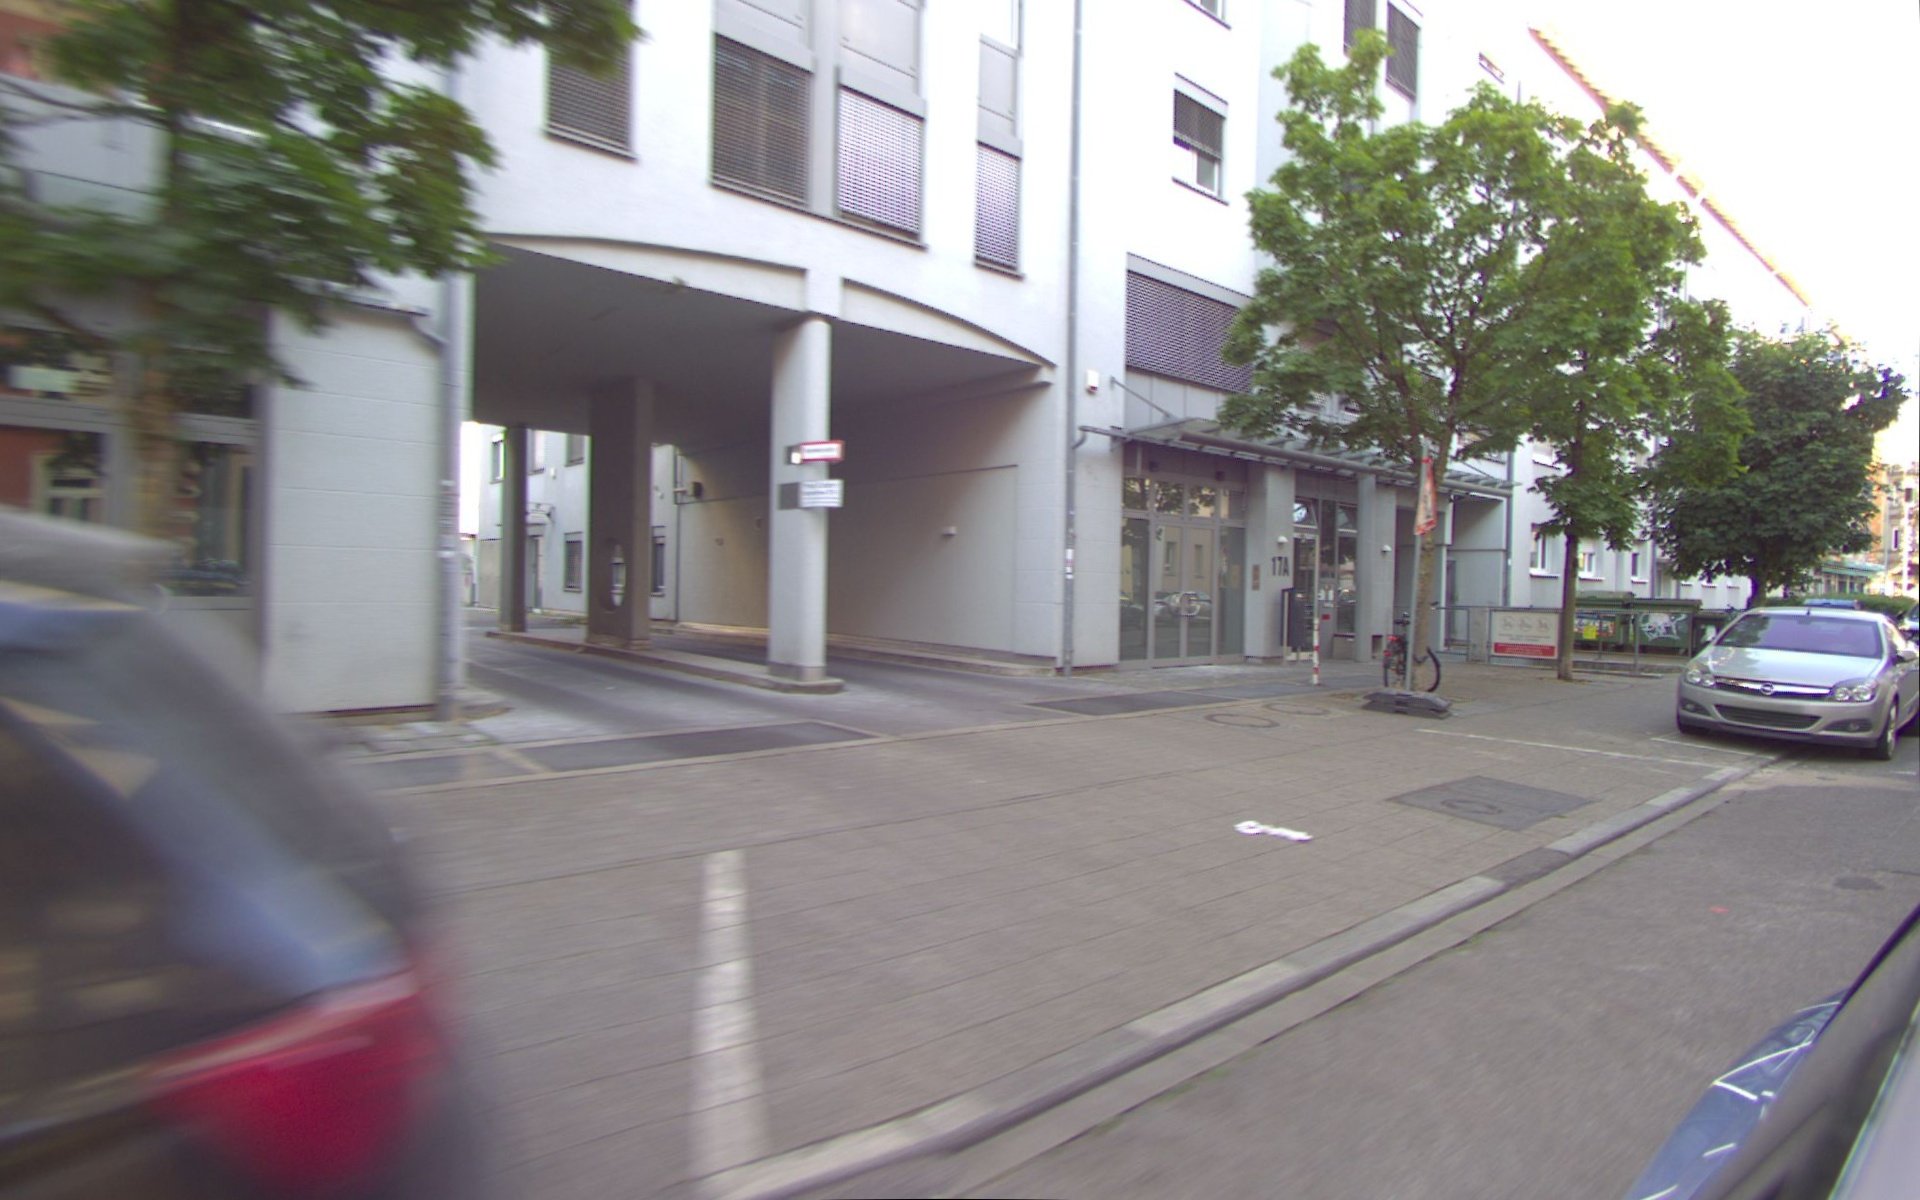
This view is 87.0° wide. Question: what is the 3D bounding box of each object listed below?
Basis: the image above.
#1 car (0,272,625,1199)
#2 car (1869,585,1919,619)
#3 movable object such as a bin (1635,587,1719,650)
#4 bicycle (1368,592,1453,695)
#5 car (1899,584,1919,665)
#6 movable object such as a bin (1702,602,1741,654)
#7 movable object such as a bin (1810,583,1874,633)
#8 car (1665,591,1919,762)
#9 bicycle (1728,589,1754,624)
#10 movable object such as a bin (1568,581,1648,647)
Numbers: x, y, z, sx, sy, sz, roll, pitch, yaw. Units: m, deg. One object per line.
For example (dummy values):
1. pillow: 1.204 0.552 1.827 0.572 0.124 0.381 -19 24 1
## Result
1. car: -2.628 0.535 0.385 4.356 1.642 1.889 0 3 -41
2. car: 48.012 0.154 50.319 1.966 1.584 3.994 0 3 -42
3. movable object such as a bin: 16.181 0.399 22.846 1.119 1.337 1.264 0 2 -41
4. bicycle: 5.694 0.507 12.739 0.519 1.182 1.716 3 3 39
5. car: 21.774 0.528 21.773 4.642 1.655 1.874 0 3 -43
6. movable object such as a bin: 16.507 0.605 21.935 0.614 1.084 0.529 0 2 -41
7. movable object such as a bin: 27.446 0.236 31.490 1.202 1.454 1.287 0 2 -41
8. car: 9.422 0.664 11.067 4.269 1.446 1.767 0 3 -41
9. bicycle: 25.722 0.195 33.311 0.599 1.104 1.716 3 3 39
10. movable object such as a bin: 15.159 0.311 23.685 1.119 1.454 1.264 0 2 -41
